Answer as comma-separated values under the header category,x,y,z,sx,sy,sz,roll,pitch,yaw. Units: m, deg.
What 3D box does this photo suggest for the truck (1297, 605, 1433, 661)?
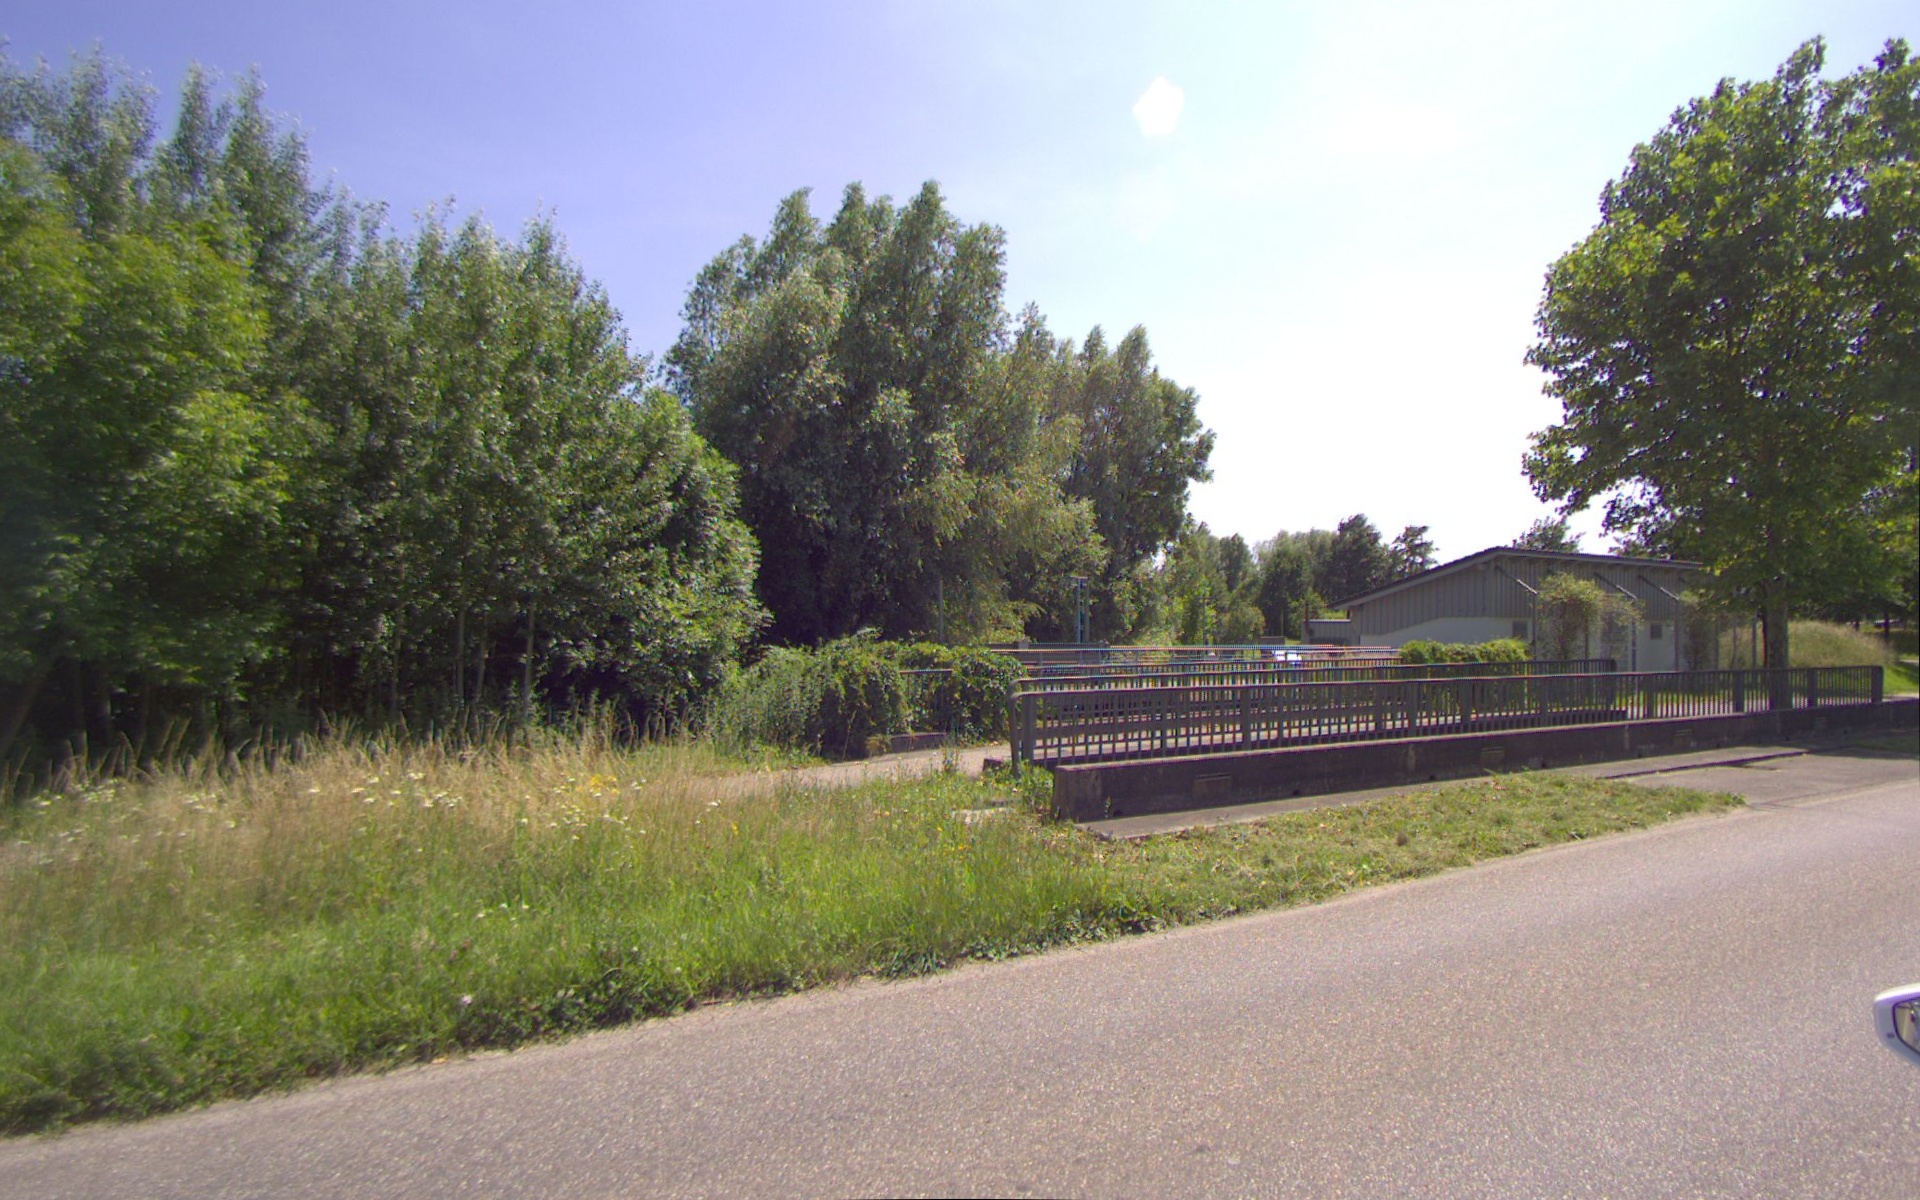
category,x,y,z,sx,sy,sz,roll,pitch,yaw
truck,17.436,1.397,43.248,5.111,2.246,2.972,1,-1,-31
